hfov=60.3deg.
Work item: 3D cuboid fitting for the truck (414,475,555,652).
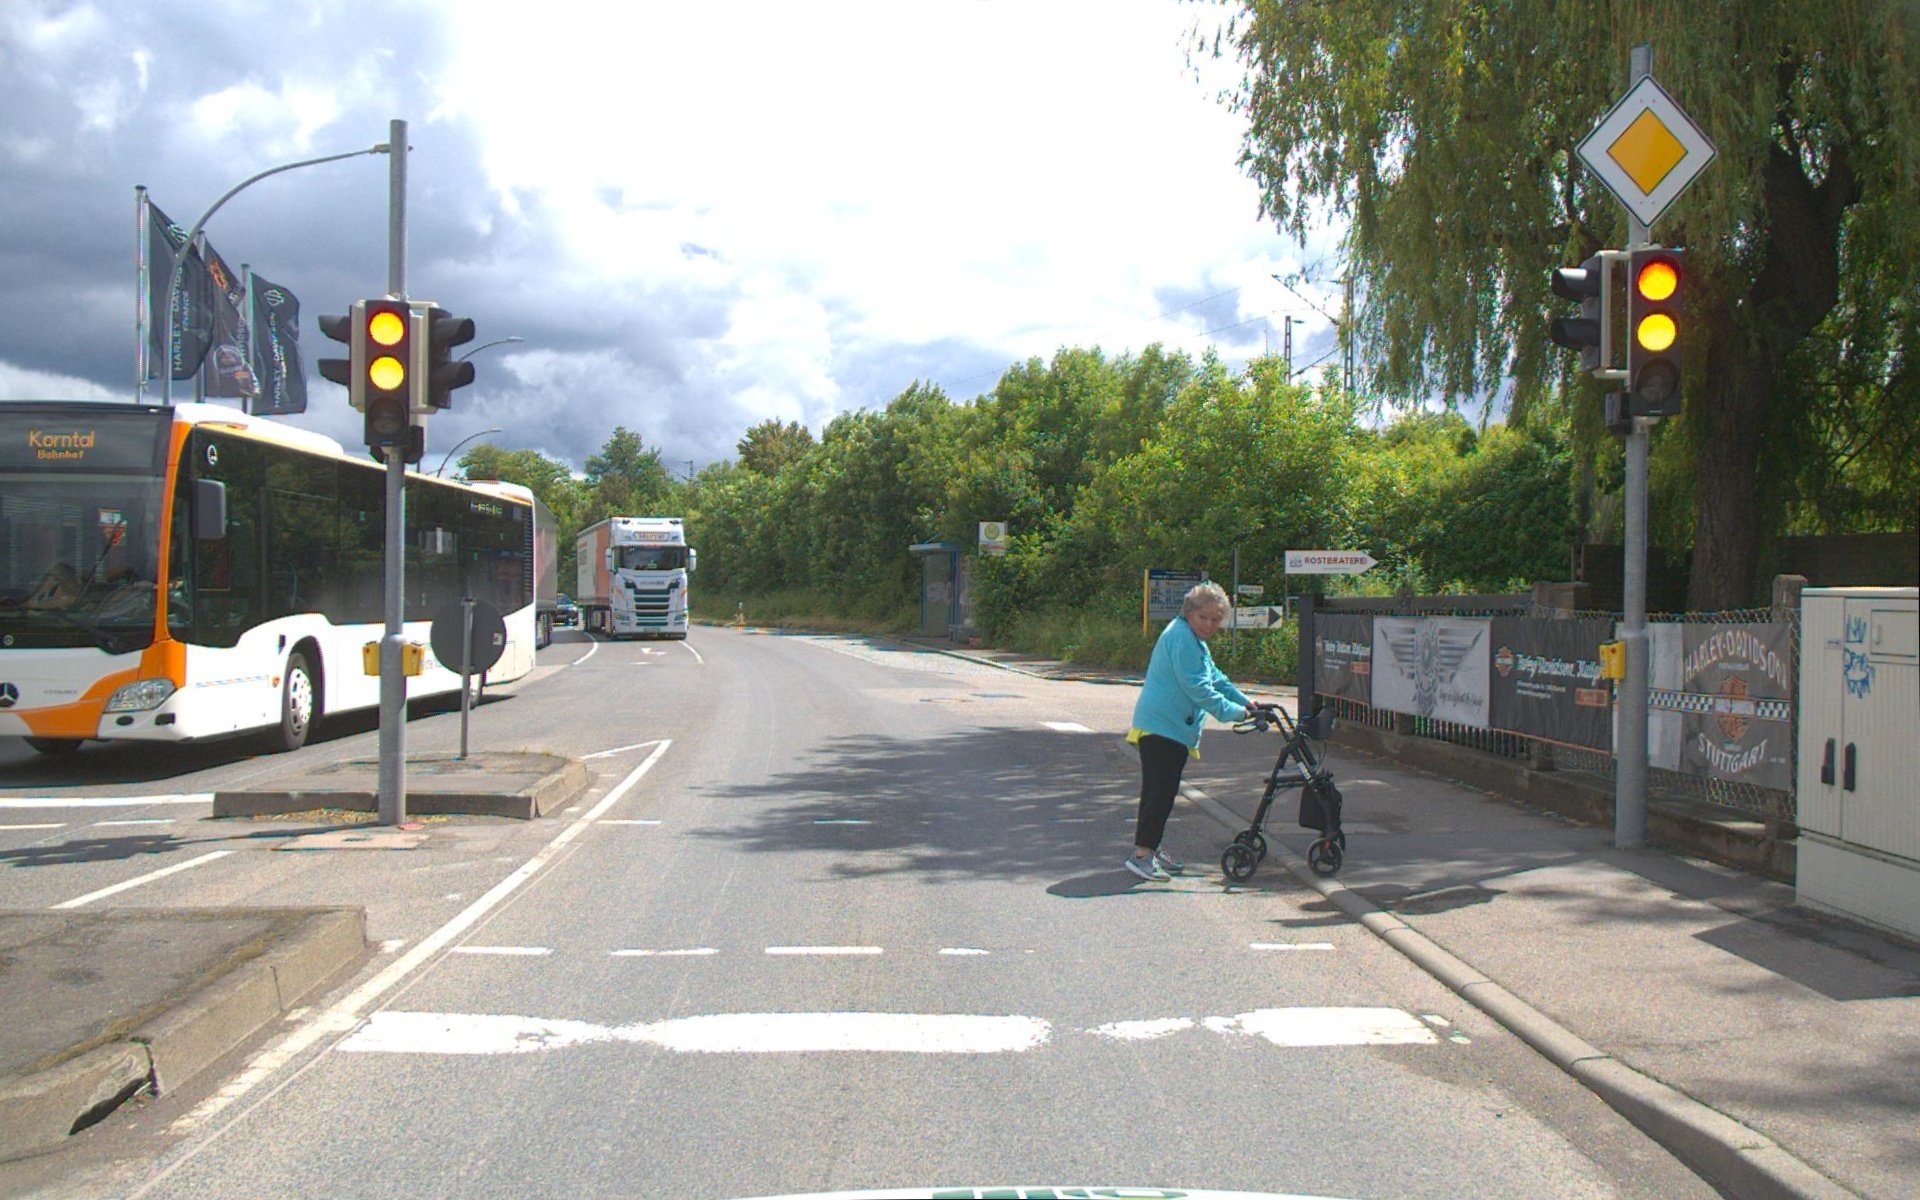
[{"bbox_3d":[-11.950,-0.840,42.105,2.748,4.124,6.484,1,0,-10],"label":"truck"}]

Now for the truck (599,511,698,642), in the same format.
[{"bbox_3d":[-10.614,-0.759,56.099,2.727,4.191,4.962,1,0,-17],"label":"truck"}]

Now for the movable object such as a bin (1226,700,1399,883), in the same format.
[{"bbox_3d":[1.854,0.998,8.769,0.731,0.887,0.670,1,0,-4],"label":"movable object such as a bin"}]

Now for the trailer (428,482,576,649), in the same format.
[{"bbox_3d":[-13.246,-0.833,49.077,2.748,4.124,15.516,1,0,-10],"label":"trailer"}]

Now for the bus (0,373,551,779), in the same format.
[{"bbox_3d":[-7.389,-0.159,18.707,2.663,3.084,12.263,0,0,-1],"label":"bus"}]

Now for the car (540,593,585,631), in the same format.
[{"bbox_3d":[-18.928,0.539,78.713,1.961,1.736,3.984,1,0,-15],"label":"car"}]

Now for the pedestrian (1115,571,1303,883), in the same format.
[{"bbox_3d":[1.297,0.646,8.737,0.822,1.570,0.733,1,-1,-4],"label":"pedestrian"}]

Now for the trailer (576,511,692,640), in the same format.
[{"bbox_3d":[-12.514,-0.810,62.253,2.727,4.217,15.278,1,0,-17],"label":"trailer"}]
